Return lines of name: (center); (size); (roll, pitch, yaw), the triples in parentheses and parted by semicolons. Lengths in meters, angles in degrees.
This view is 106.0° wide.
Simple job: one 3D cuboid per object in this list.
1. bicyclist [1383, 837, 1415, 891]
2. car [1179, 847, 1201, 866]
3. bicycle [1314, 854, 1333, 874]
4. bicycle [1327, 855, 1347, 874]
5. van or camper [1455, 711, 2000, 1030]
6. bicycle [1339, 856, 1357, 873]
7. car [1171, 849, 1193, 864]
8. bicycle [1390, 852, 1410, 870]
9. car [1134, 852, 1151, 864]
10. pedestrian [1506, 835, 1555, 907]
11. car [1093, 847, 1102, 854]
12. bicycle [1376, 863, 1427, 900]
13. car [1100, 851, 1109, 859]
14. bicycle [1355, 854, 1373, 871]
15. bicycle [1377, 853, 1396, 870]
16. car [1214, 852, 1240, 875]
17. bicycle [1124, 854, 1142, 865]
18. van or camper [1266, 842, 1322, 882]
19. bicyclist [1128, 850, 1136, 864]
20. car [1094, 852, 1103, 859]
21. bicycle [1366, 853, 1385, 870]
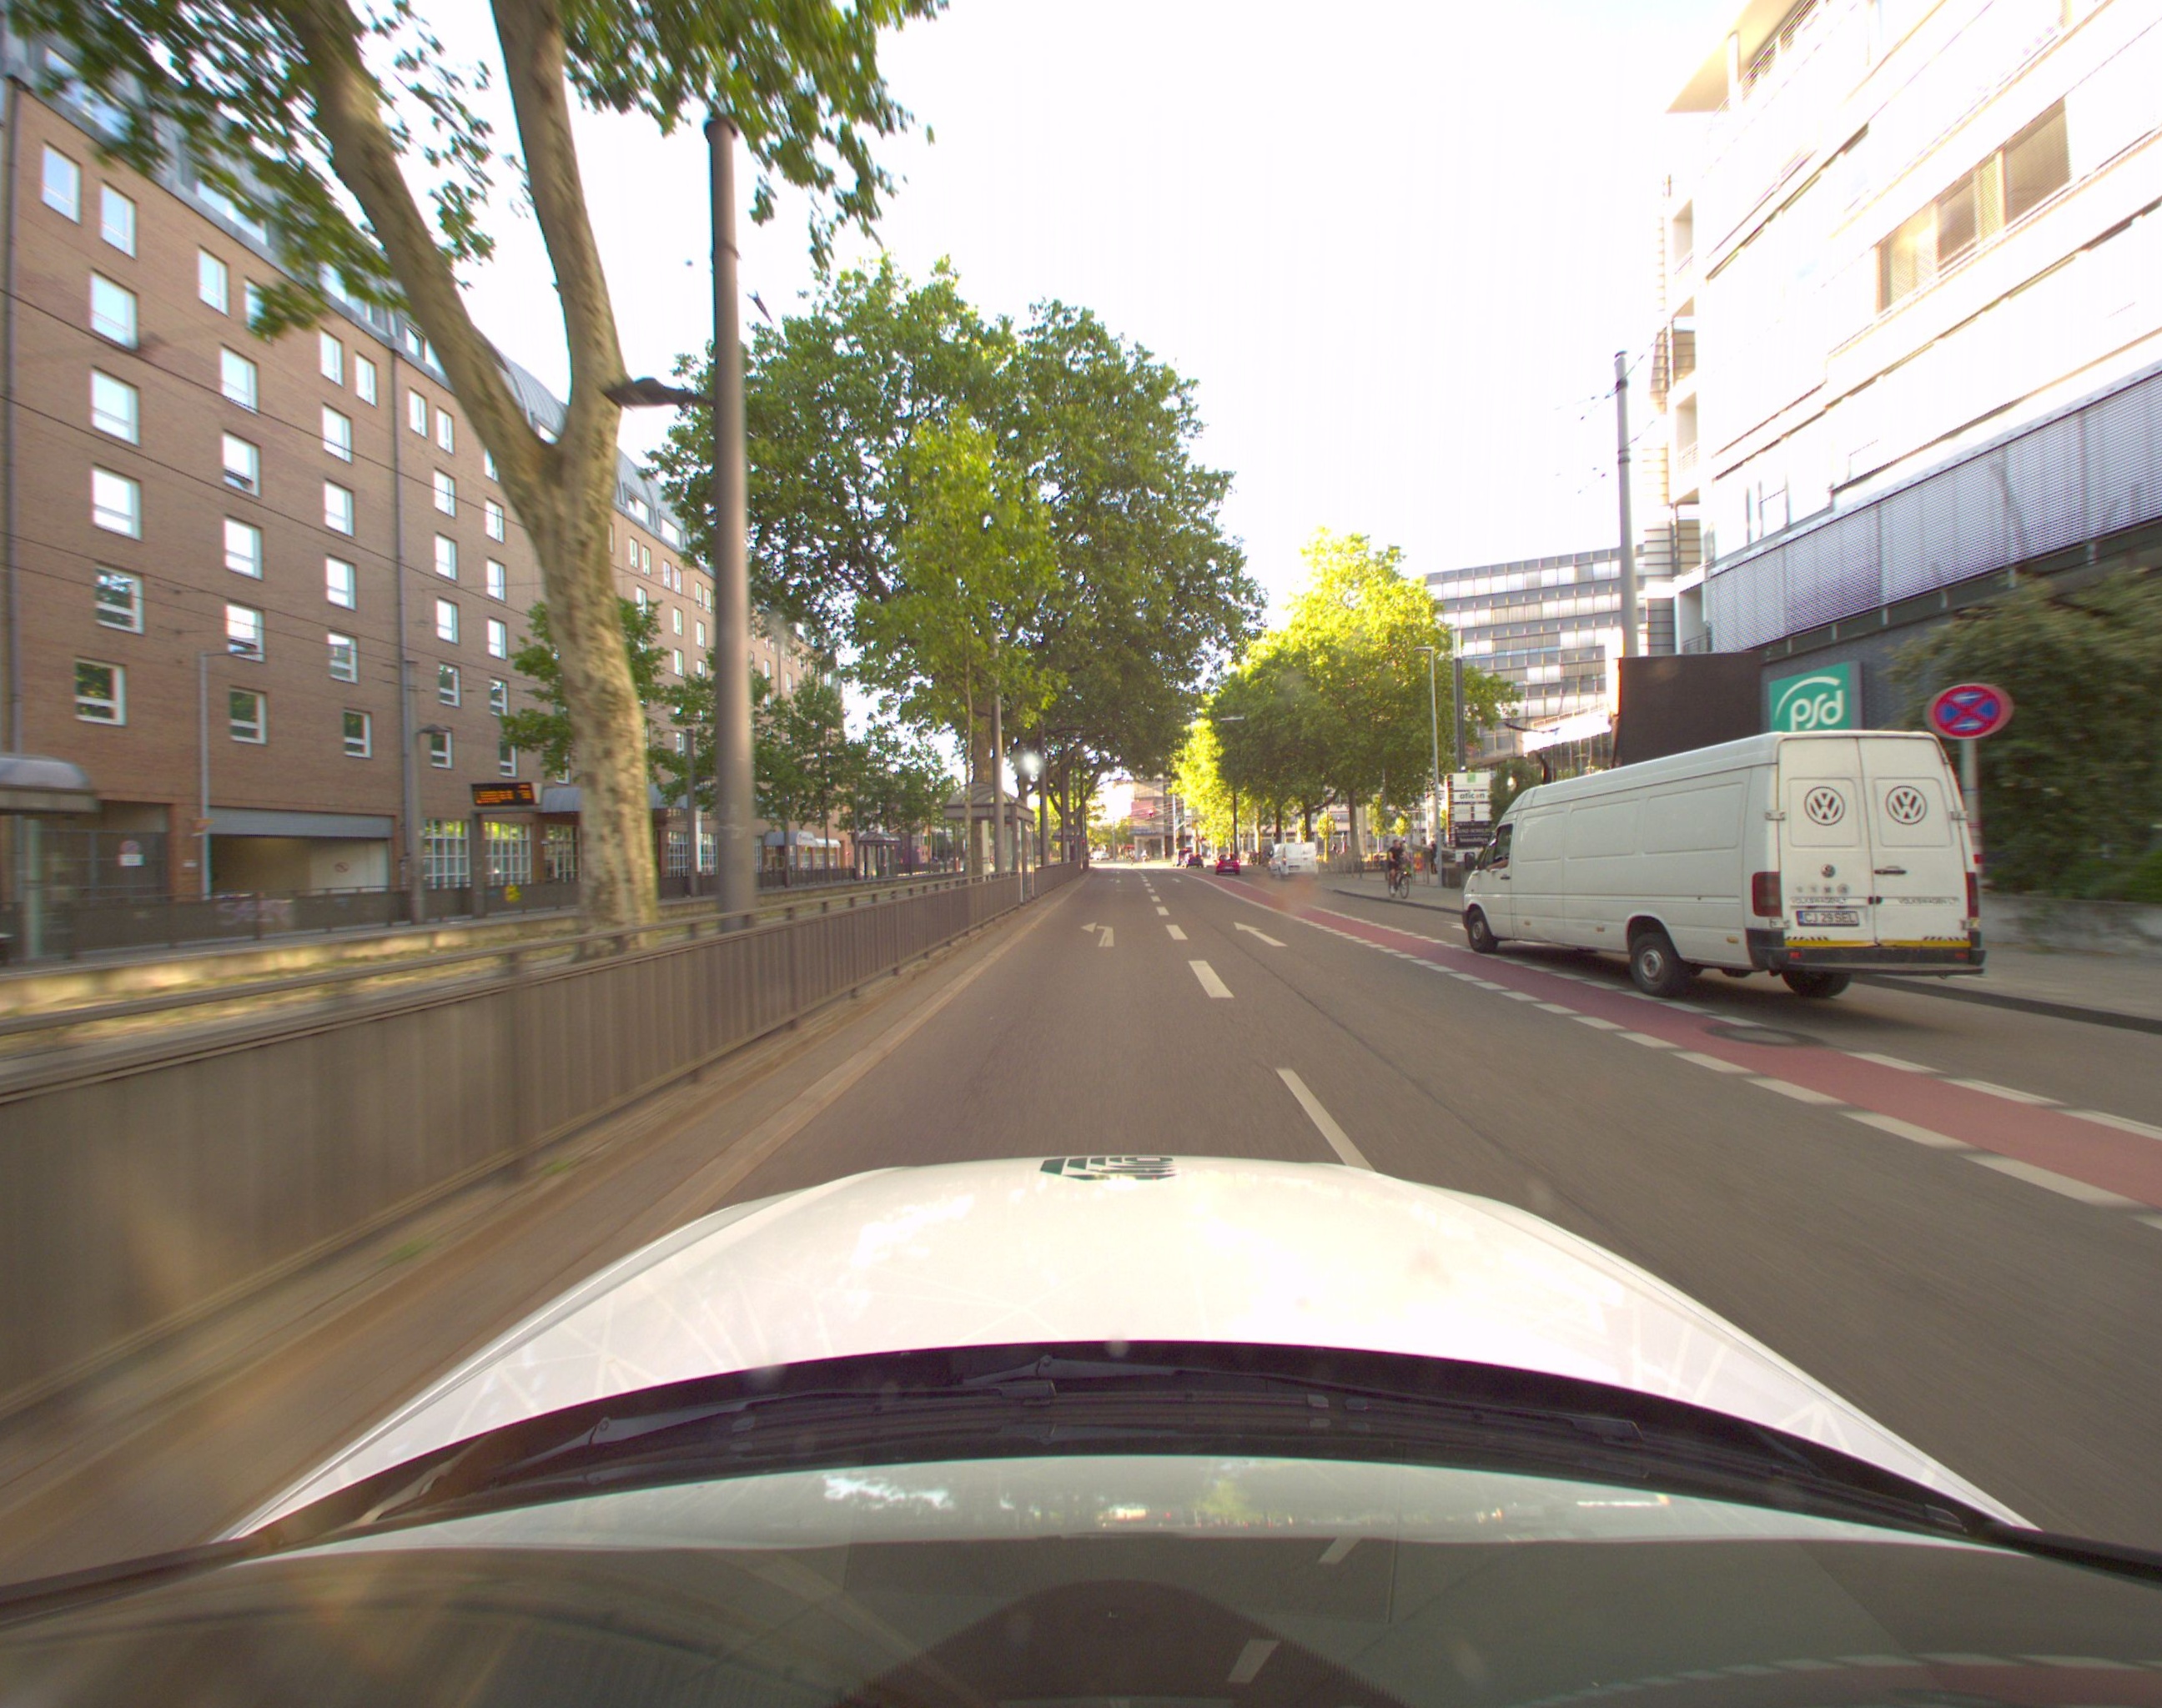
bicyclist: (10.334, 0.320, 26.507); (0.647, 1.702, 0.952); (-2, 0, 2)
car: (10.809, 0.251, 80.968); (1.632, 1.800, 3.326); (-2, 0, -3)
bicycle: (14.611, 0.573, 49.110); (0.583, 1.161, 1.900); (-3, 0, 2)
bicycle: (15.431, 0.604, 49.076); (0.583, 1.067, 1.900); (-3, 0, 2)
van or camper: (7.024, 0.120, 10.184); (1.961, 2.716, 6.308); (-1, 0, 2)
bicycle: (16.071, 0.605, 49.074); (0.466, 0.982, 1.768); (-3, 0, 2)
car: (10.770, 0.265, 87.184); (1.773, 1.534, 3.509); (-1, 0, -2)
bicycle: (19.162, 0.411, 48.952); (0.501, 0.982, 1.768); (-3, 0, 2)
car: (8.183, 0.474, 108.204); (1.773, 1.534, 3.509); (-1, 0, -2)
pedestrian: (11.120, 0.416, 20.155); (0.562, 1.702, 0.907); (-5, 0, 0)
car: (3.625, -0.850, 181.778); (1.773, 1.588, 3.409); (-1, 0, -2)
bicycle: (10.352, 0.871, 26.398); (0.680, 1.067, 2.470); (-3, 0, 2)
car: (4.856, 0.267, 169.125); (1.773, 1.534, 3.409); (-1, 0, -2)
bicycle: (17.038, 0.526, 49.059); (0.501, 0.982, 1.768); (-3, 0, 2)
bicycle: (18.371, 0.449, 49.050); (0.501, 0.982, 1.768); (-3, 0, 2)
car: (10.101, 0.623, 56.426); (1.604, 1.534, 3.420); (-1, 0, 8)
bicycle: (6.075, 0.658, 94.843); (2.007, 1.214, 0.838); (-1, 0, -3)
van or camper: (11.363, 0.393, 43.746); (1.985, 1.989, 4.749); (-2, 0, 3)
bicyclist: (5.970, 0.356, 94.844); (0.834, 1.591, 0.839); (-1, 0, -3)
car: (3.827, 0.272, 175.755); (1.773, 1.534, 3.409); (-1, 0, -2)
bicycle: (17.742, 0.447, 49.059); (0.501, 0.982, 1.768); (-3, 0, 2)
